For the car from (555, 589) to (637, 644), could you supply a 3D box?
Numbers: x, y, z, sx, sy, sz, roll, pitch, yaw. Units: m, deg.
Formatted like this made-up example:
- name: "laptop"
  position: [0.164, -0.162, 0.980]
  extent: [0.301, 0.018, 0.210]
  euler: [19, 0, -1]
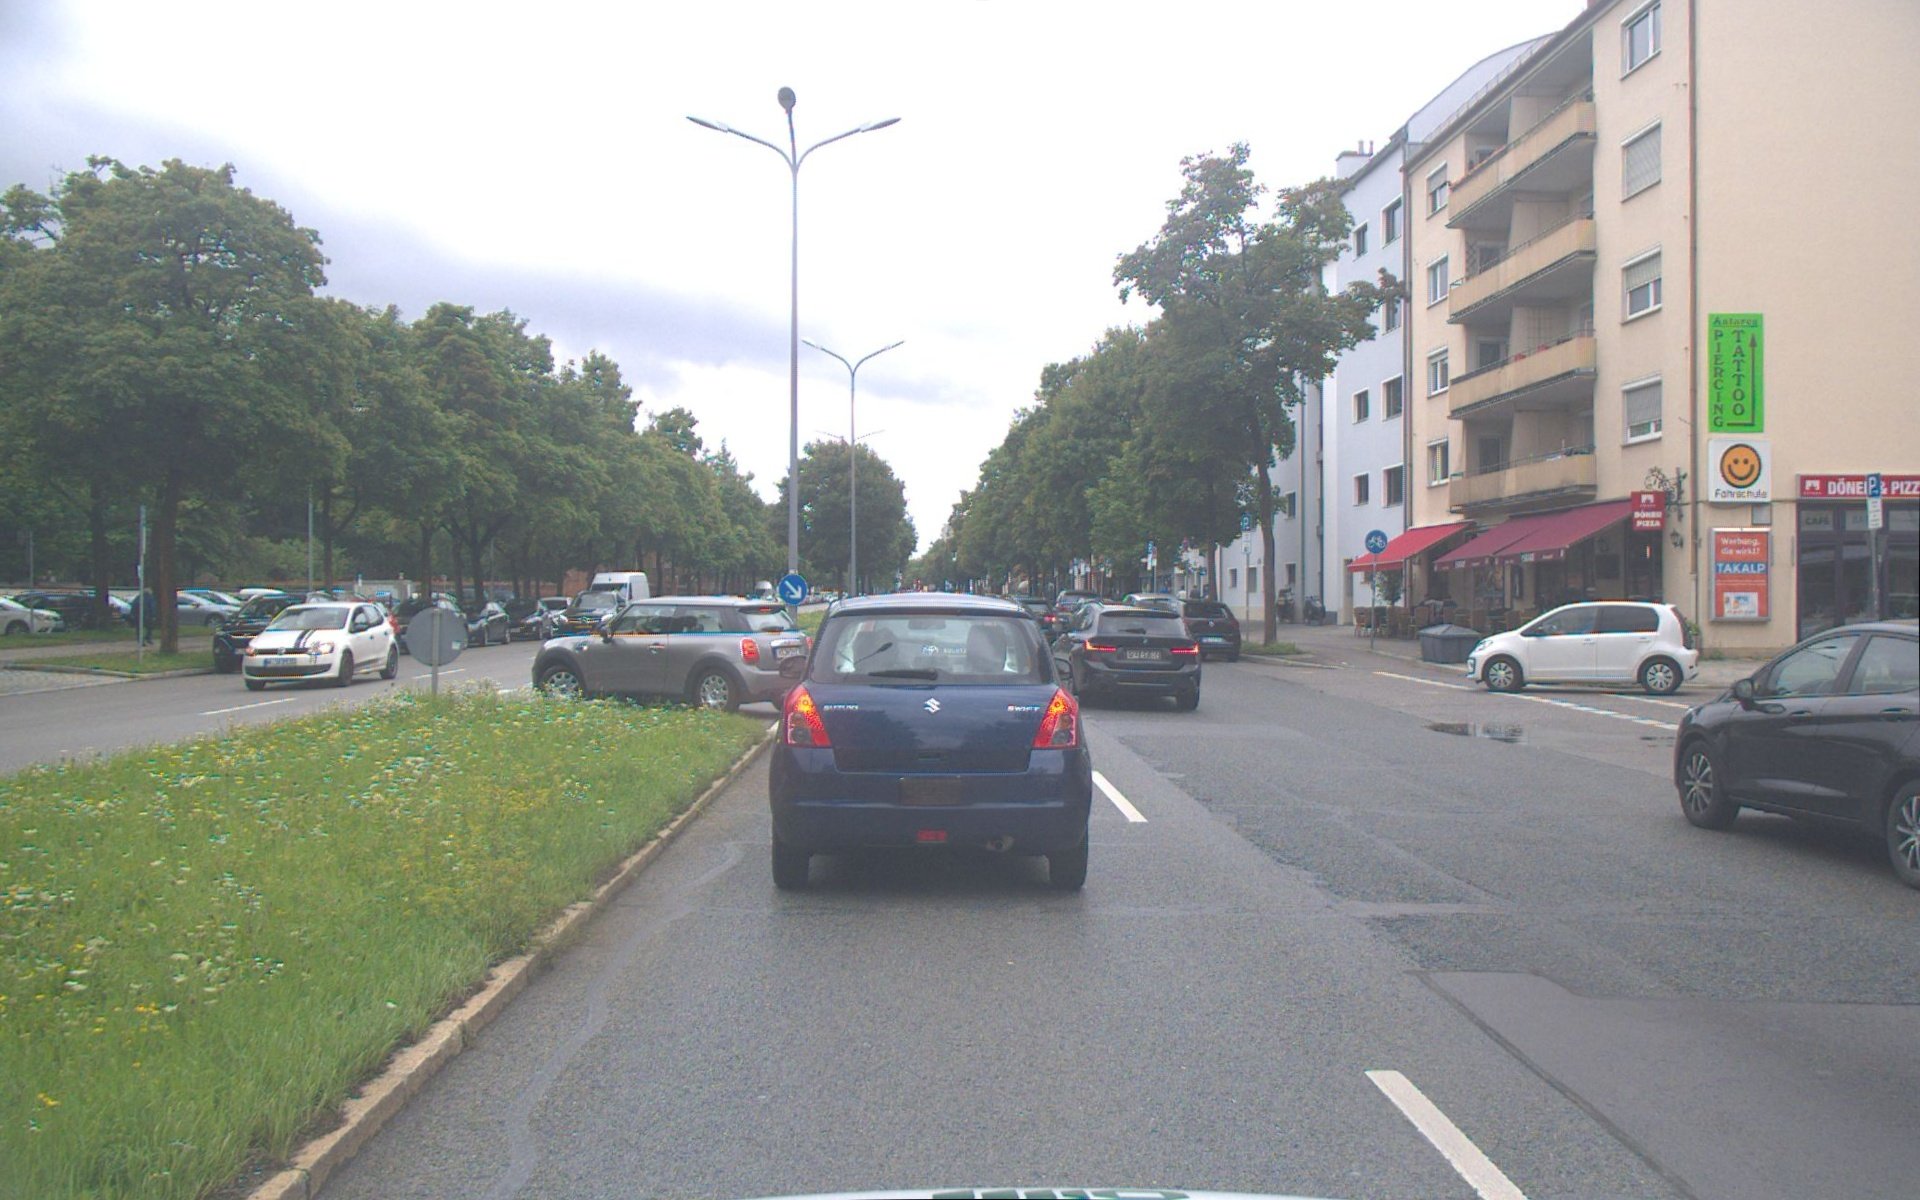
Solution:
- name: "car"
  position: [-11.807, 0.490, 53.882]
  extent: [1.731, 1.651, 4.505]
  euler: [-2, 0, -2]

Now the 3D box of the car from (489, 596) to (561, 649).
- name: "car"
  position: [-15.342, 0.771, 58.499]
  extent: [1.599, 1.771, 3.877]
  euler: [1, 0, -2]

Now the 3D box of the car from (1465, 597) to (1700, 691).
- name: "car"
  position: [10.205, 0.687, 27.092]
  extent: [3.477, 1.442, 1.870]
  euler: [0, 0, 25]

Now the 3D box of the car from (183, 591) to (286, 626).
- name: "car"
  position: [-31.873, 0.369, 72.714]
  extent: [3.792, 1.471, 1.670]
  euler: [1, 0, -7]

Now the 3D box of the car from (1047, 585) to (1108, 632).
- name: "car"
  position: [4.446, 0.300, 63.247]
  extent: [1.828, 1.712, 4.222]
  euler: [-1, 0, -3]

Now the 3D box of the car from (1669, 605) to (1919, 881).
- name: "car"
  position: [5.995, 0.805, 10.172]
  extent: [1.584, 1.491, 3.673]
  euler: [2, 0, -2]

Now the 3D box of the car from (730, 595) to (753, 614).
- name: "car"
  position: [-19.367, 0.417, 146.574]
  extent: [1.599, 1.610, 3.877]
  euler: [1, 0, -2]

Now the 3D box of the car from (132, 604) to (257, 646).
- name: "car"
  position: [-28.055, 0.927, 60.705]
  extent: [3.792, 1.471, 1.670]
  euler: [1, 0, -7]

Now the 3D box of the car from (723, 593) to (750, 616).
- name: "car"
  position: [-16.530, 0.334, 122.458]
  extent: [1.599, 1.610, 3.877]
  euler: [1, 0, -2]

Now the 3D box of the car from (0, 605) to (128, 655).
- name: "car"
  position: [-27.968, 0.909, 50.934]
  extent: [3.792, 1.471, 1.670]
  euler: [1, 0, -7]

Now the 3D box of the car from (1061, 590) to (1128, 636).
- name: "car"
  position: [4.723, 0.430, 58.695]
  extent: [1.828, 1.544, 4.222]
  euler: [-1, 0, -3]

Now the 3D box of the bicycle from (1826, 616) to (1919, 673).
- name: "bicycle"
  position: [16.321, 0.787, 29.191]
  extent: [1.810, 0.974, 0.557]
  euler: [1, 0, -3]

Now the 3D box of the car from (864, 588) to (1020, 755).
- name: "car"
  position: [-0.223, 0.641, 16.584]
  extent: [1.415, 1.509, 3.105]
  euler: [0, 0, -2]

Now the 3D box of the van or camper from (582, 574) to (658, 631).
- name: "van or camper"
  position: [-15.968, 0.114, 78.003]
  extent: [2.074, 2.525, 7.448]
  euler: [1, 0, -1]

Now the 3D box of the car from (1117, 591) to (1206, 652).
- name: "car"
  position: [5.482, 0.553, 45.454]
  extent: [1.756, 1.585, 4.223]
  euler: [-1, 0, -2]

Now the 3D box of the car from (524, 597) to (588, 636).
- name: "car"
  position: [-15.560, 0.626, 63.829]
  extent: [1.599, 1.456, 3.877]
  euler: [1, 0, -2]

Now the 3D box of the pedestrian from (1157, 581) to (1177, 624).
- name: "pedestrian"
  position: [9.904, 0.131, 79.151]
  extent: [0.778, 2.049, 1.006]
  euler: [0, 0, -1]

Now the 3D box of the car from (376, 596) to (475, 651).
- name: "car"
  position: [-15.050, 0.634, 46.780]
  extent: [1.634, 1.471, 3.877]
  euler: [1, 0, -2]

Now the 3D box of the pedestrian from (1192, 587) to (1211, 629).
- name: "pedestrian"
  position: [11.632, 0.382, 79.746]
  extent: [0.778, 2.049, 1.006]
  euler: [0, 0, -1]

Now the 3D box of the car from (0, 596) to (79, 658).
- name: "car"
  position: [-28.097, 0.766, 48.233]
  extent: [3.844, 1.748, 1.670]
  euler: [1, 0, -7]

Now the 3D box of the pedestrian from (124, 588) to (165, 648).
- name: "pedestrian"
  position: [-21.543, 0.471, 43.719]
  extent: [0.713, 1.561, 0.720]
  euler: [1, 0, -1]

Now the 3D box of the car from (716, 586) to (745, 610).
- name: "car"
  position: [-16.161, -0.130, 116.555]
  extent: [1.599, 1.610, 3.877]
  euler: [1, 0, -2]

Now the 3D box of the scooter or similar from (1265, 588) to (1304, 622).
- name: "scooter or similar"
  position: [13.162, 0.185, 67.078]
  extent: [1.012, 1.330, 2.755]
  euler: [0, 0, -1]

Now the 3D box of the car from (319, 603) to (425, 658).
- name: "car"
  position: [-14.869, 0.748, 41.985]
  extent: [1.559, 1.335, 3.379]
  euler: [1, 0, -2]

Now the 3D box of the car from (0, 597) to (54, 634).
- name: "car"
  position: [-39.642, 0.605, 67.284]
  extent: [4.595, 1.471, 1.672]
  euler: [1, 0, -1]

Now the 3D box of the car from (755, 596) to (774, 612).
- name: "car"
  position: [-19.844, 0.409, 167.796]
  extent: [1.599, 1.610, 3.877]
  euler: [1, 0, -2]

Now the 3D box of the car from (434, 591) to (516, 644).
- name: "car"
  position: [-15.230, 0.537, 52.125]
  extent: [1.559, 1.585, 3.877]
  euler: [1, 0, -2]

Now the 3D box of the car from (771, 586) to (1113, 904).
- name: "car"
  position: [-0.164, 0.685, 9.948]
  extent: [1.648, 1.528, 3.917]
  euler: [0, 0, -2]

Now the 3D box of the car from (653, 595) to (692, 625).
- name: "car"
  position: [-16.230, 0.543, 93.524]
  extent: [1.599, 1.610, 3.877]
  euler: [1, 0, -2]

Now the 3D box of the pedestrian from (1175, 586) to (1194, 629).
- name: "pedestrian"
  position: [10.750, 0.370, 79.138]
  extent: [0.778, 2.049, 1.006]
  euler: [0, 0, -1]

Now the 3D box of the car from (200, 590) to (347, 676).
- name: "car"
  position: [-14.984, 0.682, 36.311]
  extent: [1.682, 1.771, 3.877]
  euler: [1, 0, -2]

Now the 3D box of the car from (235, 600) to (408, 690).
- name: "car"
  position: [-11.063, 0.735, 28.929]
  extent: [1.586, 1.399, 3.836]
  euler: [-2, 0, -2]

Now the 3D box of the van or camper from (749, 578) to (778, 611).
- name: "van or camper"
  position: [-20.708, -0.544, 174.634]
  extent: [2.509, 3.353, 6.934]
  euler: [1, 0, -2]

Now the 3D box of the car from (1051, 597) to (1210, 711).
- name: "car"
  position: [2.381, 0.713, 24.102]
  extent: [1.723, 1.438, 4.461]
  euler: [1, 0, -1]

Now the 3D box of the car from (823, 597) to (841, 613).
- name: "car"
  position: [-13.116, 0.475, 169.464]
  extent: [1.599, 1.580, 3.877]
  euler: [1, 0, -2]

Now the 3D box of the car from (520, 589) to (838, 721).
- name: "car"
  position: [-3.507, 0.617, 20.541]
  extent: [3.651, 1.488, 1.685]
  euler: [0, 0, 29]

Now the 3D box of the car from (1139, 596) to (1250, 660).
- name: "car"
  position: [5.712, 0.655, 40.684]
  extent: [1.829, 1.442, 4.220]
  euler: [-1, 0, -5]

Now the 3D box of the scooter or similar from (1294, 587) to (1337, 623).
- name: "scooter or similar"
  position: [13.582, 0.169, 63.320]
  extent: [1.012, 1.330, 2.755]
  euler: [0, 0, -1]

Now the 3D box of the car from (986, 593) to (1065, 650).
- name: "car"
  position: [1.783, 0.566, 46.494]
  extent: [1.697, 1.457, 4.438]
  euler: [1, 0, -4]
